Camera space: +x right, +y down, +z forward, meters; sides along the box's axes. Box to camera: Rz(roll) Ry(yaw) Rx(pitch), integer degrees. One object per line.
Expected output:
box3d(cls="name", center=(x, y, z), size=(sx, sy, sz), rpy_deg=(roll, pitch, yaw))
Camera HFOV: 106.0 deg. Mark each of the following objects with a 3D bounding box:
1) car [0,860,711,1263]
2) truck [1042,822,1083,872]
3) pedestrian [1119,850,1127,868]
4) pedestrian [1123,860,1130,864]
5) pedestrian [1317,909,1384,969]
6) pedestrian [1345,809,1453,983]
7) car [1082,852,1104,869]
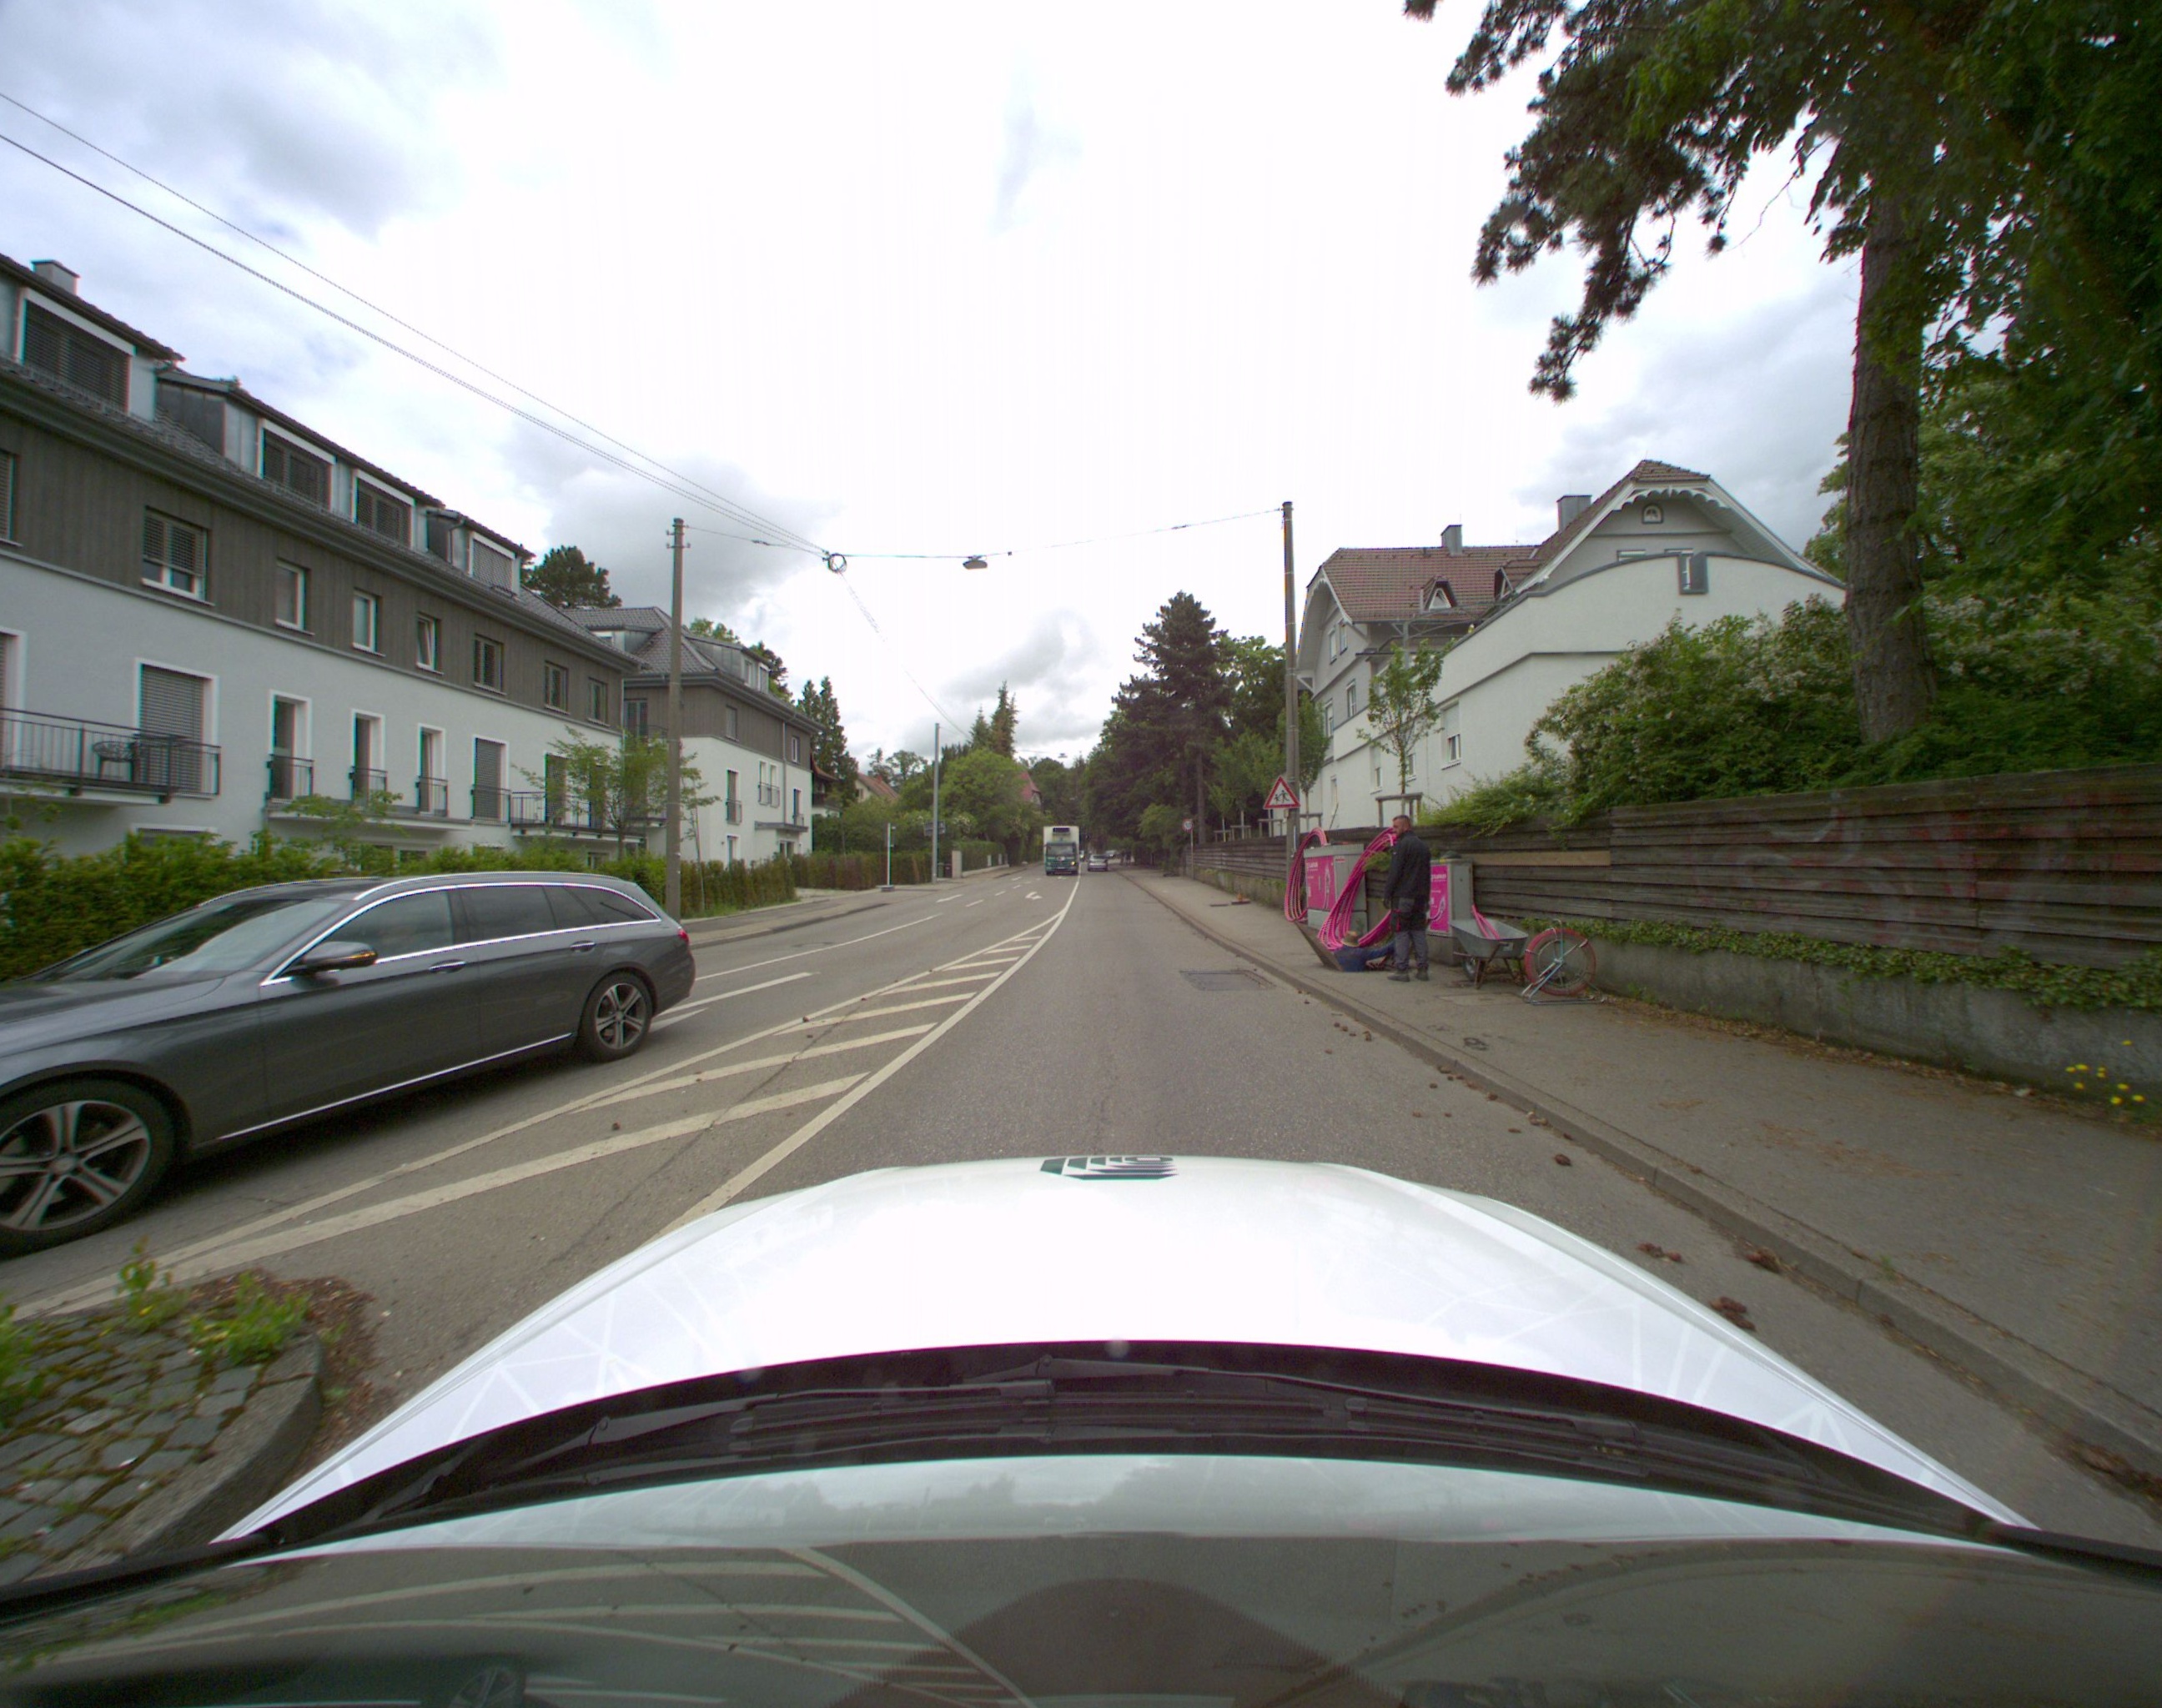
box3d(cls="car", center=(-4.729, 0.861, 5.088), size=(1.813, 1.485, 4.765), rpy_deg=(-2, 0, 13))
box3d(cls="truck", center=(-1.477, -0.415, 60.644), size=(2.771, 3.461, 7.484), rpy_deg=(-1, -1, -3))
box3d(cls="pedestrian", center=(4.331, 0.512, 83.504), size=(0.804, 1.807, 0.741), rpy_deg=(-1, 0, -1))
box3d(cls="pedestrian", center=(4.500, 0.813, 81.110), size=(0.670, 0.393, 0.741), rpy_deg=(-1, 0, -1))
box3d(cls="pedestrian", center=(3.514, 1.093, 10.621), size=(0.650, 0.696, 0.578), rpy_deg=(-1, 0, -41))
box3d(cls="pedestrian", center=(3.703, 0.453, 9.517), size=(0.848, 1.923, 0.796), rpy_deg=(-1, 0, -20))
box3d(cls="car", center=(1.031, 0.548, 70.164), size=(1.791, 1.415, 4.336), rpy_deg=(-1, -1, 1))
